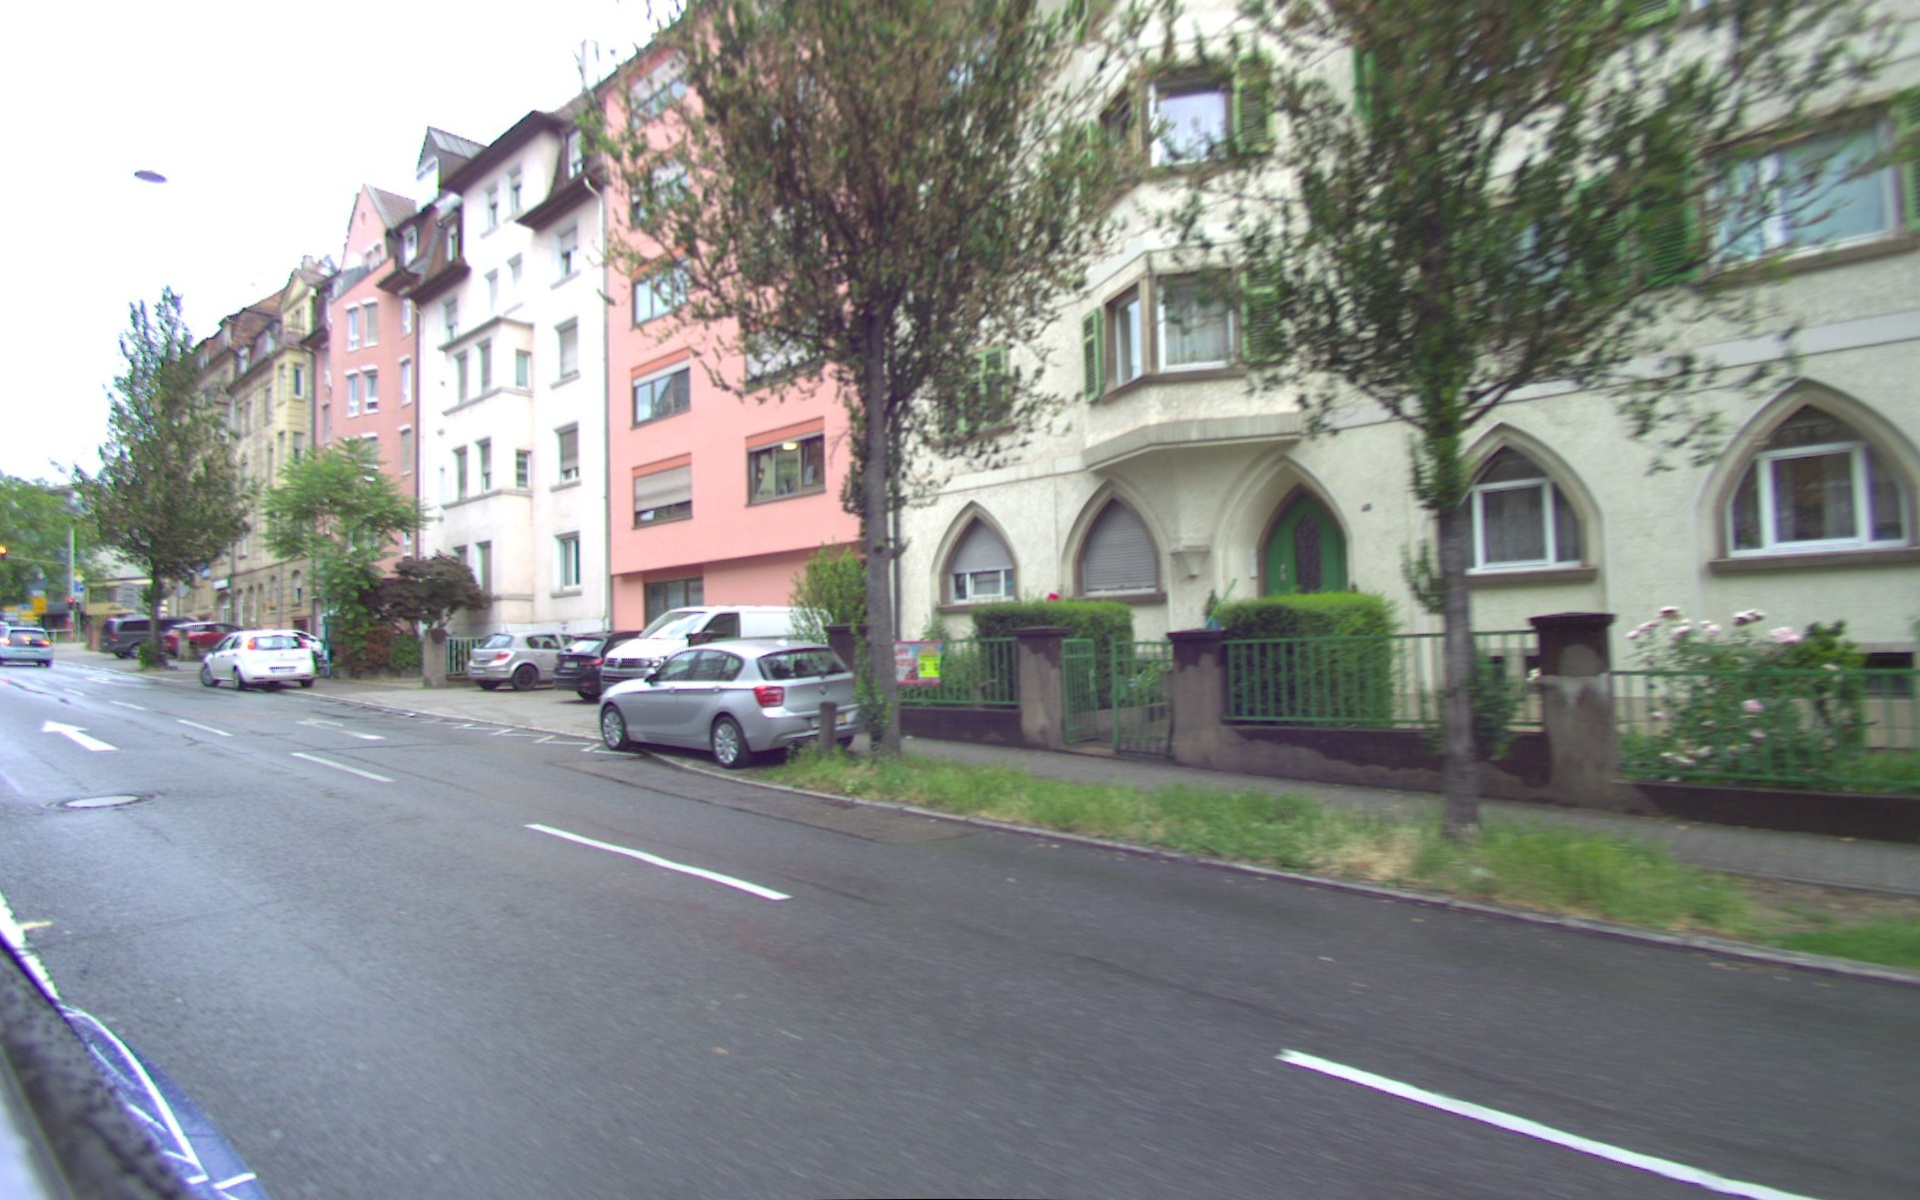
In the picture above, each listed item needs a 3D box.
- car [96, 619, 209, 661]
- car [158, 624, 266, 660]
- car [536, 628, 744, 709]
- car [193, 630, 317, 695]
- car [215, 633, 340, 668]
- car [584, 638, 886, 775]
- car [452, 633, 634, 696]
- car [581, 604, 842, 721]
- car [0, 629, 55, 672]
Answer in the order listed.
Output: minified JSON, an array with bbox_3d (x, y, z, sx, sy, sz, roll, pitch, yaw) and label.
[{"bbox_3d":[-38.193,1.864,47.949,1.865,1.861,3.880,-1,-2,39],"label":"car"},{"bbox_3d":[-35.341,1.959,47.870,1.592,1.634,3.877,-1,-2,42],"label":"car"},{"bbox_3d":[-6.670,1.358,21.417,1.758,1.408,3.880,-1,0,39],"label":"car"},{"bbox_3d":[-18.327,1.566,26.254,3.648,1.483,1.649,-1,0,38],"label":"car"},{"bbox_3d":[-27.293,1.970,40.560,1.646,1.307,3.877,-1,-2,42],"label":"car"},{"bbox_3d":[-2.972,1.217,12.869,4.137,1.428,1.663,-1,-2,42],"label":"car"},{"bbox_3d":[-10.344,1.547,25.345,1.722,1.408,3.885,-1,-2,35],"label":"car"},{"bbox_3d":[-4.638,1.071,19.494,1.917,1.919,4.672,-1,0,39],"label":"car"},{"bbox_3d":[-37.093,1.953,39.865,3.651,1.560,1.749,-1,0,42],"label":"car"}]
